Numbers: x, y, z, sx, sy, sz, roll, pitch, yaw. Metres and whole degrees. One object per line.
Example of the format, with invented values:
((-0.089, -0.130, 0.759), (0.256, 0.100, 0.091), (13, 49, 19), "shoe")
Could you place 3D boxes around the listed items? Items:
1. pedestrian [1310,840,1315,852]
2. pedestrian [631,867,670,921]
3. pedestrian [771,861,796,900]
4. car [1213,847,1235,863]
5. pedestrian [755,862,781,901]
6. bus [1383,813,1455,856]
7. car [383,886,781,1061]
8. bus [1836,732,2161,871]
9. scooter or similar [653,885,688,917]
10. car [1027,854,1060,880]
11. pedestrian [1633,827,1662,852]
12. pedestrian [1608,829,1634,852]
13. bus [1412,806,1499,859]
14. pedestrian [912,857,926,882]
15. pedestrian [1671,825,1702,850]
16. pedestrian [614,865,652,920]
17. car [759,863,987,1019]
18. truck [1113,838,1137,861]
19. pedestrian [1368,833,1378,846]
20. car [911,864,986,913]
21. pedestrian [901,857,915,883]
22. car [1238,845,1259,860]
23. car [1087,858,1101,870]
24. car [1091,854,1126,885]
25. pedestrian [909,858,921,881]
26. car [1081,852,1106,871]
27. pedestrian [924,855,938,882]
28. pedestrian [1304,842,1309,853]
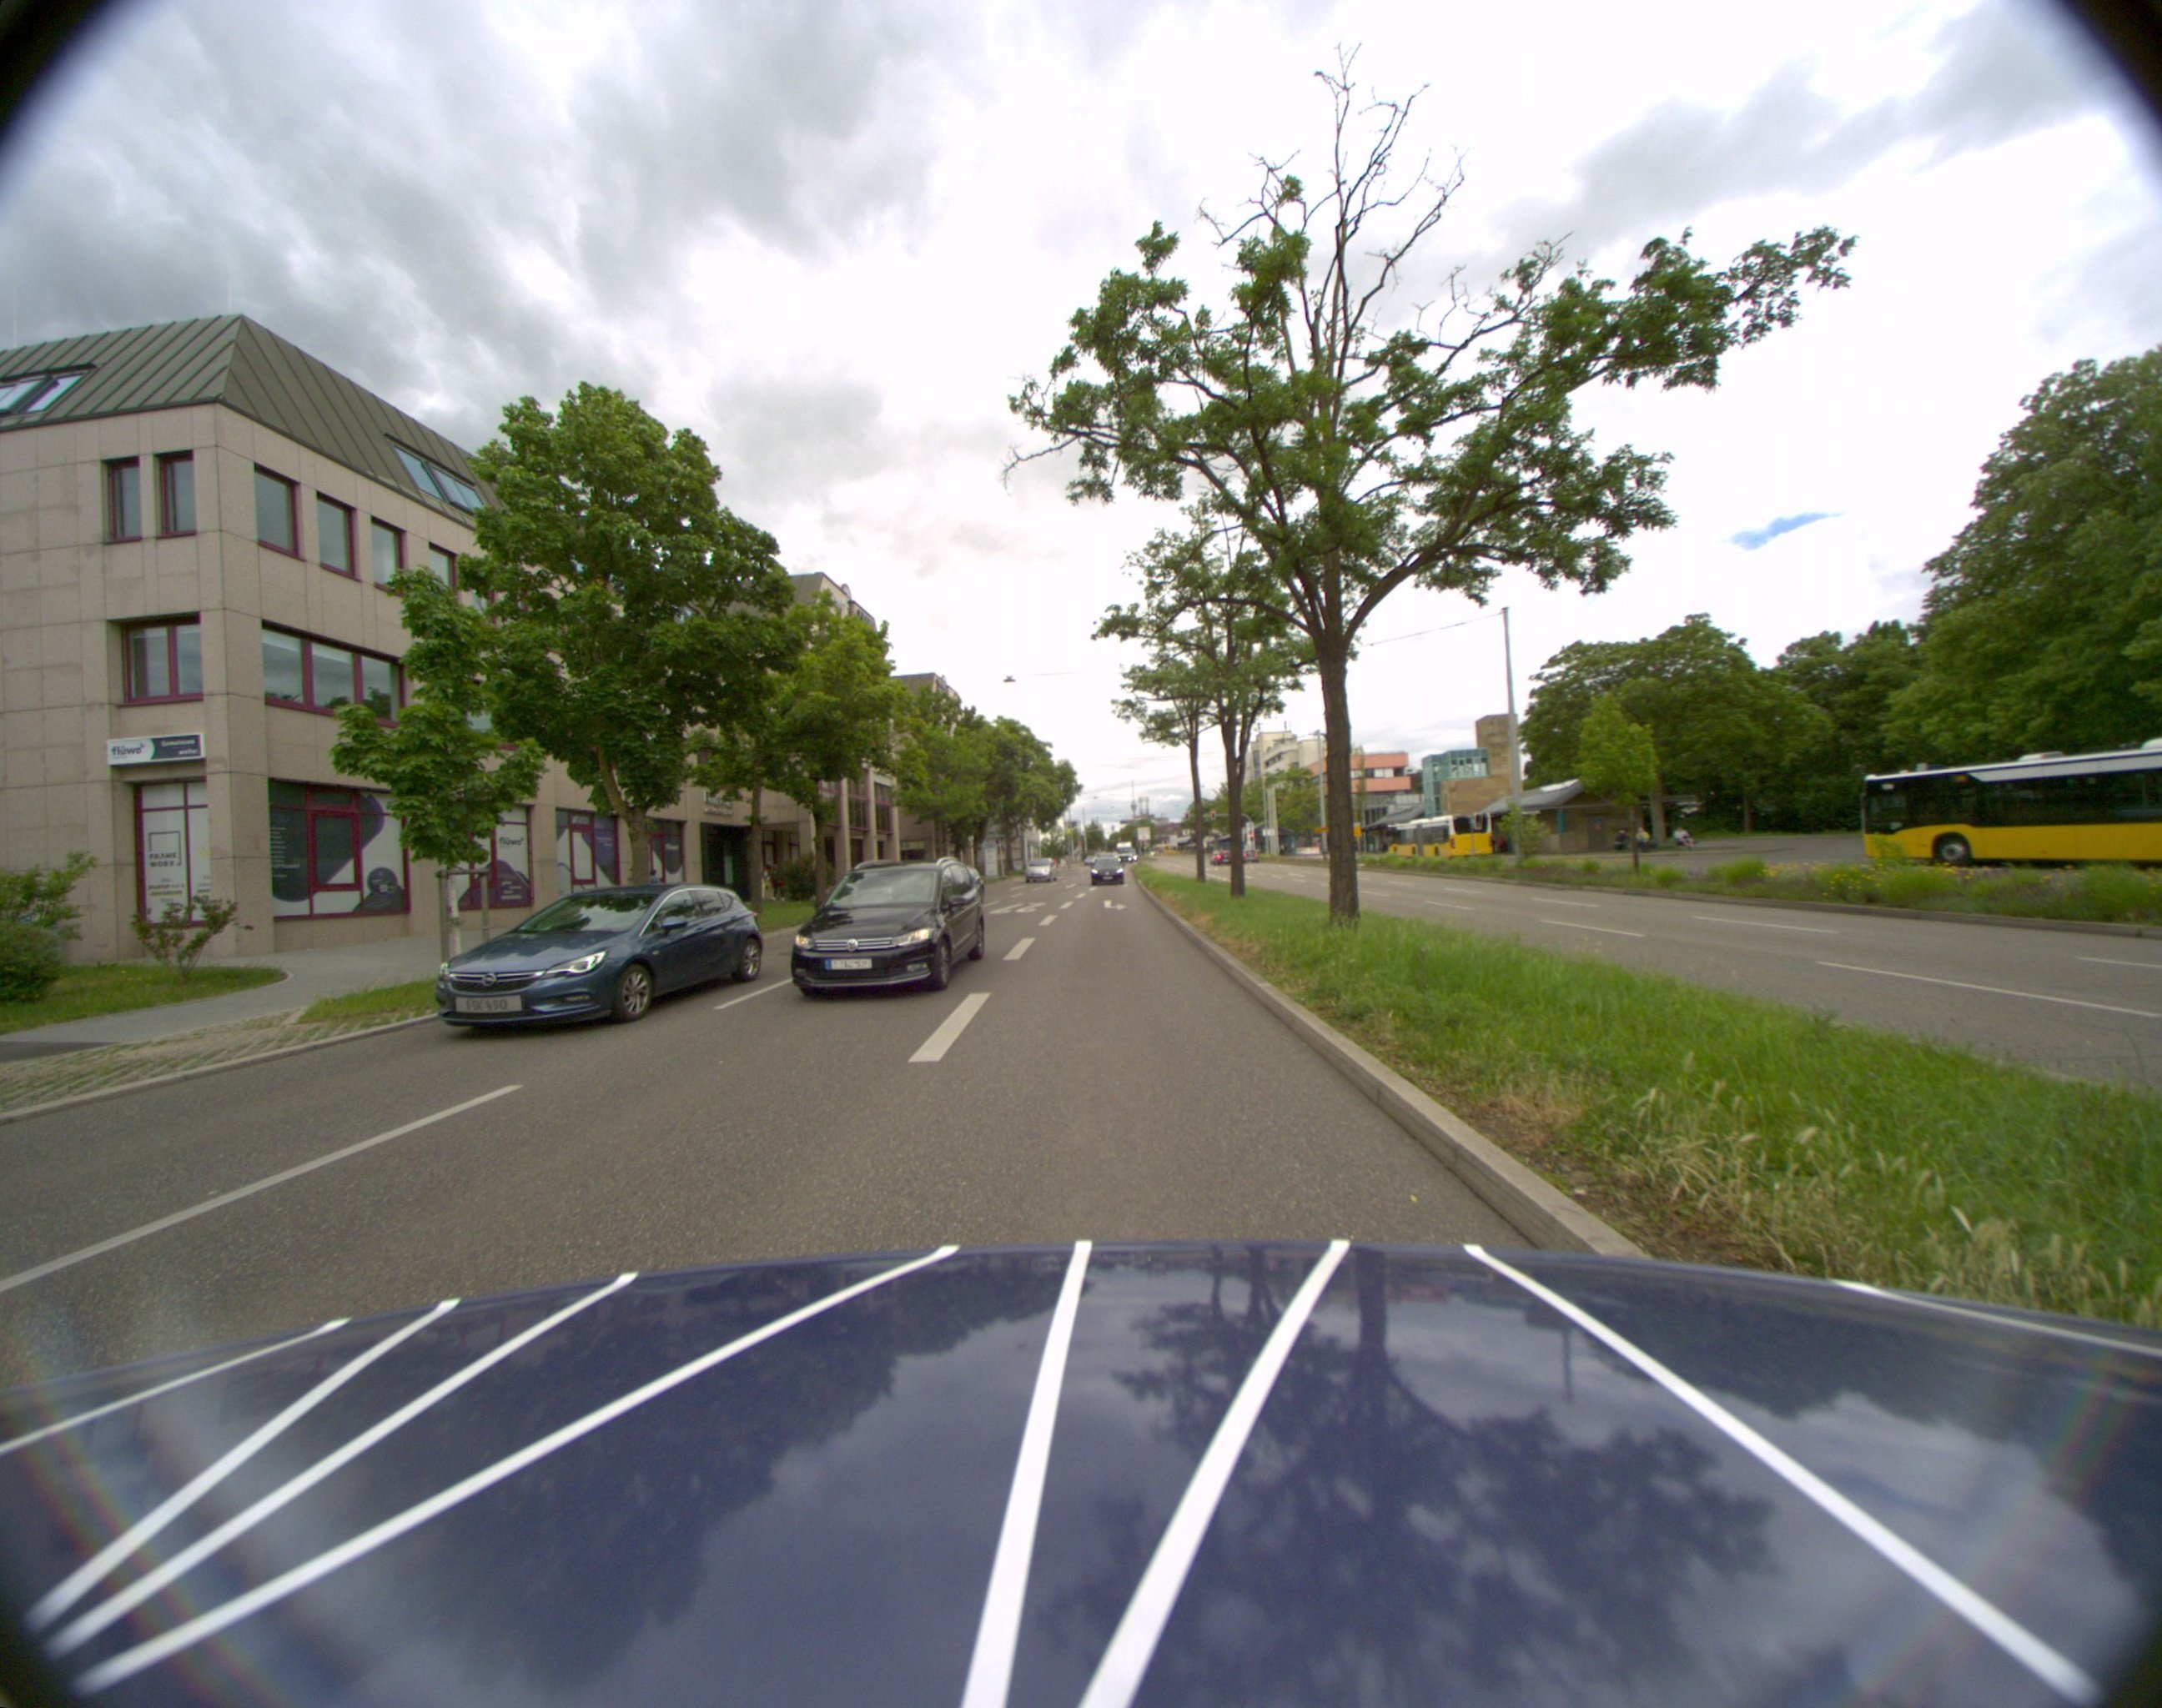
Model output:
((32.424, -1.121, 106.213), (0.485, 1.539, 0.383), (-3, 1, -6), "pedestrian")
((-13.561, 1.245, 23.952), (0.556, 1.643, 0.962), (-1, 1, 7), "pedestrian")
((-13.366, 1.166, 34.138), (0.596, 1.695, 0.970), (-3, 1, 6), "pedestrian")
((14.732, 0.050, 78.473), (1.662, 1.499, 3.769), (-3, 1, 2), "car")
((-14.058, 1.220, 34.120), (0.596, 1.695, 0.970), (-3, 1, 6), "pedestrian")
((27.619, -1.521, 62.588), (2.781, 3.113, 9.444), (-5, 0, 9), "bus")
((-5.495, 1.205, 9.230), (1.972, 1.431, 4.312), (-1, 0, 0), "car")
((26.258, -1.344, 19.768), (3.090, 3.144, 10.740), (-5, 0, 5), "bus")
((-13.433, 1.538, 24.863), (0.585, 0.988, 0.847), (-1, 1, 7), "scooter or similar")
((-2.483, 0.876, 51.582), (1.763, 1.625, 4.156), (-2, 0, 3), "car")
((30.385, -0.785, 40.771), (0.859, 1.283, 0.894), (-3, 1, -22), "pedestrian")
((30.532, -0.763, 42.971), (0.859, 1.247, 0.894), (-3, 1, -26), "pedestrian")
((26.065, -1.419, 53.405), (2.814, 3.113, 9.306), (-5, 0, 10), "bus")
((-11.035, 1.025, 51.659), (0.659, 1.681, 0.843), (-1, 1, 6), "pedestrian")
((31.944, -0.881, 40.100), (0.895, 1.247, 0.858), (-3, 1, 3), "pedestrian")
((-14.327, 1.204, 24.323), (0.568, 1.690, 0.829), (-3, 1, 6), "pedestrian")
((-2.578, 0.994, 10.615), (1.972, 1.631, 4.312), (-1, 0, 0), "car")
((6.711, -0.725, 117.174), (3.118, 3.209, 6.523), (-4, 1, 1), "truck")
((34.584, -1.689, 89.983), (0.990, 1.452, 0.592), (-3, 1, 18), "pedestrian")
((-4.616, 1.162, 27.088), (1.768, 1.440, 4.420), (-3, 1, 0), "car")
((-11.796, 1.083, 51.743), (0.659, 1.681, 0.843), (-1, 1, 6), "pedestrian")
((18.566, -0.160, 84.423), (1.819, 1.499, 4.001), (-3, 1, 6), "car")
((2.020, 1.505, 119.224), (2.020, 1.760, 4.001), (-3, 0, 3), "car")
((1.562, 0.811, 42.045), (1.763, 1.531, 4.048), (-2, 0, 3), "car")
((-10.873, 1.011, 49.823), (0.562, 1.541, 0.544), (-1, 1, 6), "pedestrian")
((1.184, 0.680, 72.531), (2.150, 1.630, 5.095), (-4, 0, 1), "car")
((-10.216, 0.962, 51.633), (0.659, 1.815, 0.843), (-1, 1, 6), "pedestrian")
((31.573, -0.910, 106.329), (0.529, 1.539, 0.754), (-3, 1, 18), "pedestrian")
